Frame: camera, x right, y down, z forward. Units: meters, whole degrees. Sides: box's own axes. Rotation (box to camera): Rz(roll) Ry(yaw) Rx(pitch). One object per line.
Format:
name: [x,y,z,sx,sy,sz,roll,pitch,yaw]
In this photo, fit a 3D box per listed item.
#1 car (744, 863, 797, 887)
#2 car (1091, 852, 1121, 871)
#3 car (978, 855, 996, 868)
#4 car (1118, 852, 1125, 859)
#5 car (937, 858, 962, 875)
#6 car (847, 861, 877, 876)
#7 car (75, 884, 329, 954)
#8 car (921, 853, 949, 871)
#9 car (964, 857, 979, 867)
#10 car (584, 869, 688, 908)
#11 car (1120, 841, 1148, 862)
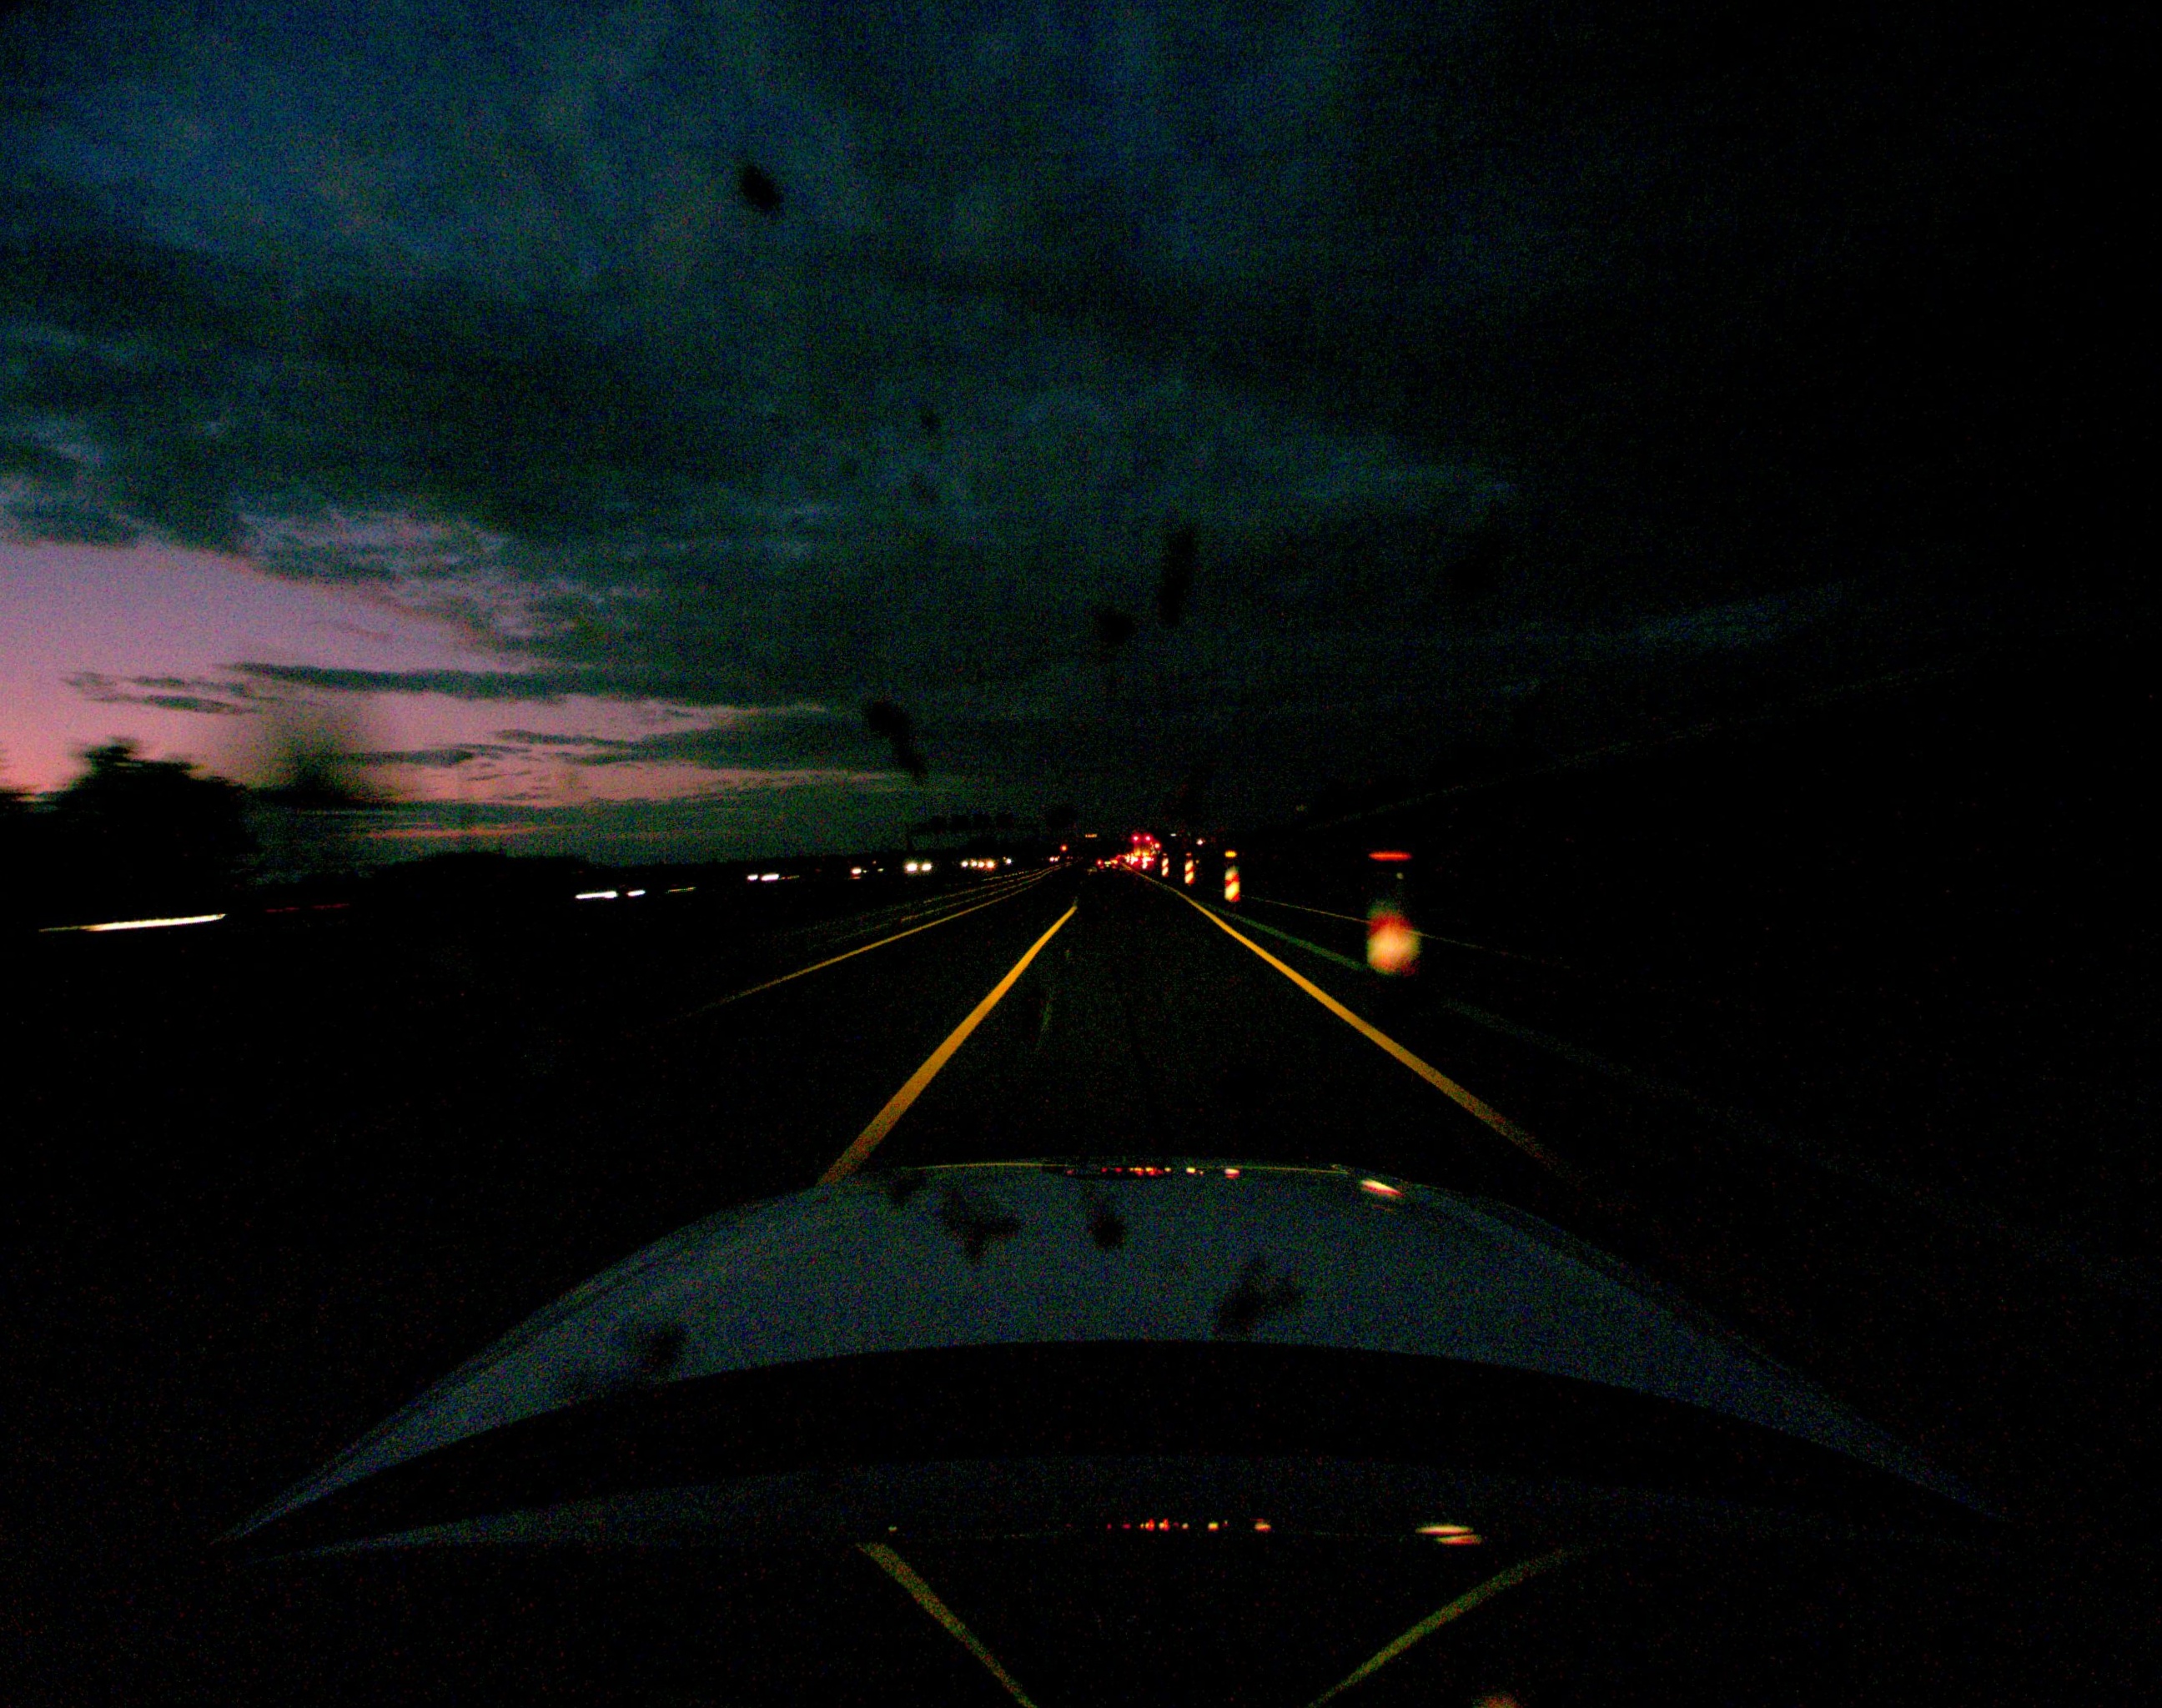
car: [-21.201,1.385,55.743,1.757,1.548,4.426,0,0,2]
car: [2.076,0.621,69.509,2.260,1.621,3.996,0,0,-3]
car: [-13.994,1.177,121.303,1.987,1.699,4.000,-3,-2,1]
car: [12.330,0.389,248.949,1.986,2.013,4.001,0,0,1]
car: [-14.316,1.351,88.918,1.986,1.828,4.002,0,0,2]
car: [-23.199,1.508,86.441,1.757,1.548,4.426,0,0,2]
car: [-22.363,1.588,21.014,1.986,1.464,4.136,0,0,1]
car: [-14.602,0.791,81.847,1.986,1.714,4.002,0,0,2]
car: [-16.685,1.249,124.696,1.569,1.430,4.427,0,0,2]
car: [-18.963,1.415,35.010,1.757,1.464,4.692,0,0,2]
car: [9.096,-0.444,140.518,3.599,3.395,8.000,0,0,-5]
